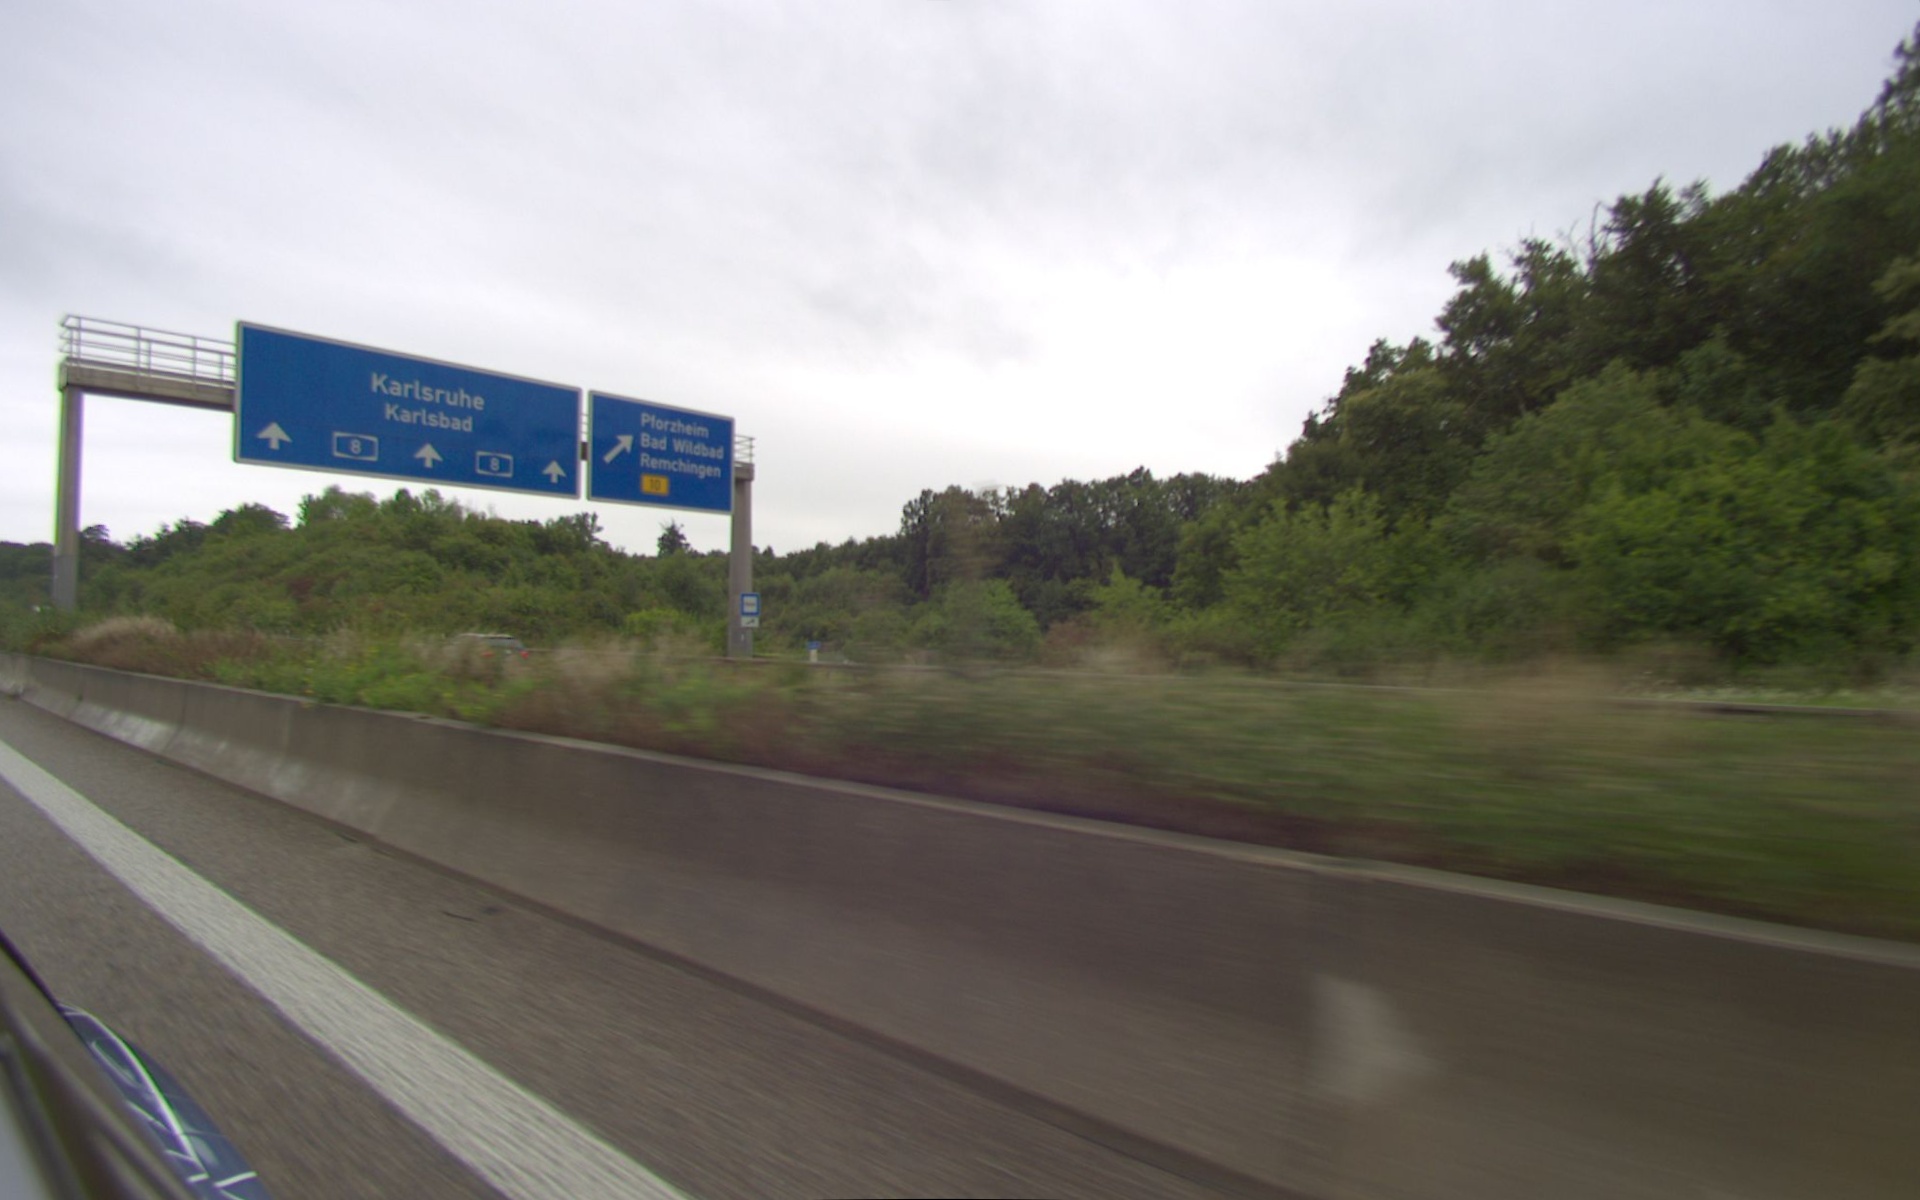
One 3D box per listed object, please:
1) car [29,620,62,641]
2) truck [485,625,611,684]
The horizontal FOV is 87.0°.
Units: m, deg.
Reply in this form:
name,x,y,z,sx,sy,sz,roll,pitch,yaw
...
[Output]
name,x,y,z,sx,sy,sz,roll,pitch,yaw
car,-100.409,3.341,111.123,6.415,2.184,1.972,-1,-3,42
truck,-11.770,1.497,28.826,3.998,1.537,1.719,-1,-2,41
